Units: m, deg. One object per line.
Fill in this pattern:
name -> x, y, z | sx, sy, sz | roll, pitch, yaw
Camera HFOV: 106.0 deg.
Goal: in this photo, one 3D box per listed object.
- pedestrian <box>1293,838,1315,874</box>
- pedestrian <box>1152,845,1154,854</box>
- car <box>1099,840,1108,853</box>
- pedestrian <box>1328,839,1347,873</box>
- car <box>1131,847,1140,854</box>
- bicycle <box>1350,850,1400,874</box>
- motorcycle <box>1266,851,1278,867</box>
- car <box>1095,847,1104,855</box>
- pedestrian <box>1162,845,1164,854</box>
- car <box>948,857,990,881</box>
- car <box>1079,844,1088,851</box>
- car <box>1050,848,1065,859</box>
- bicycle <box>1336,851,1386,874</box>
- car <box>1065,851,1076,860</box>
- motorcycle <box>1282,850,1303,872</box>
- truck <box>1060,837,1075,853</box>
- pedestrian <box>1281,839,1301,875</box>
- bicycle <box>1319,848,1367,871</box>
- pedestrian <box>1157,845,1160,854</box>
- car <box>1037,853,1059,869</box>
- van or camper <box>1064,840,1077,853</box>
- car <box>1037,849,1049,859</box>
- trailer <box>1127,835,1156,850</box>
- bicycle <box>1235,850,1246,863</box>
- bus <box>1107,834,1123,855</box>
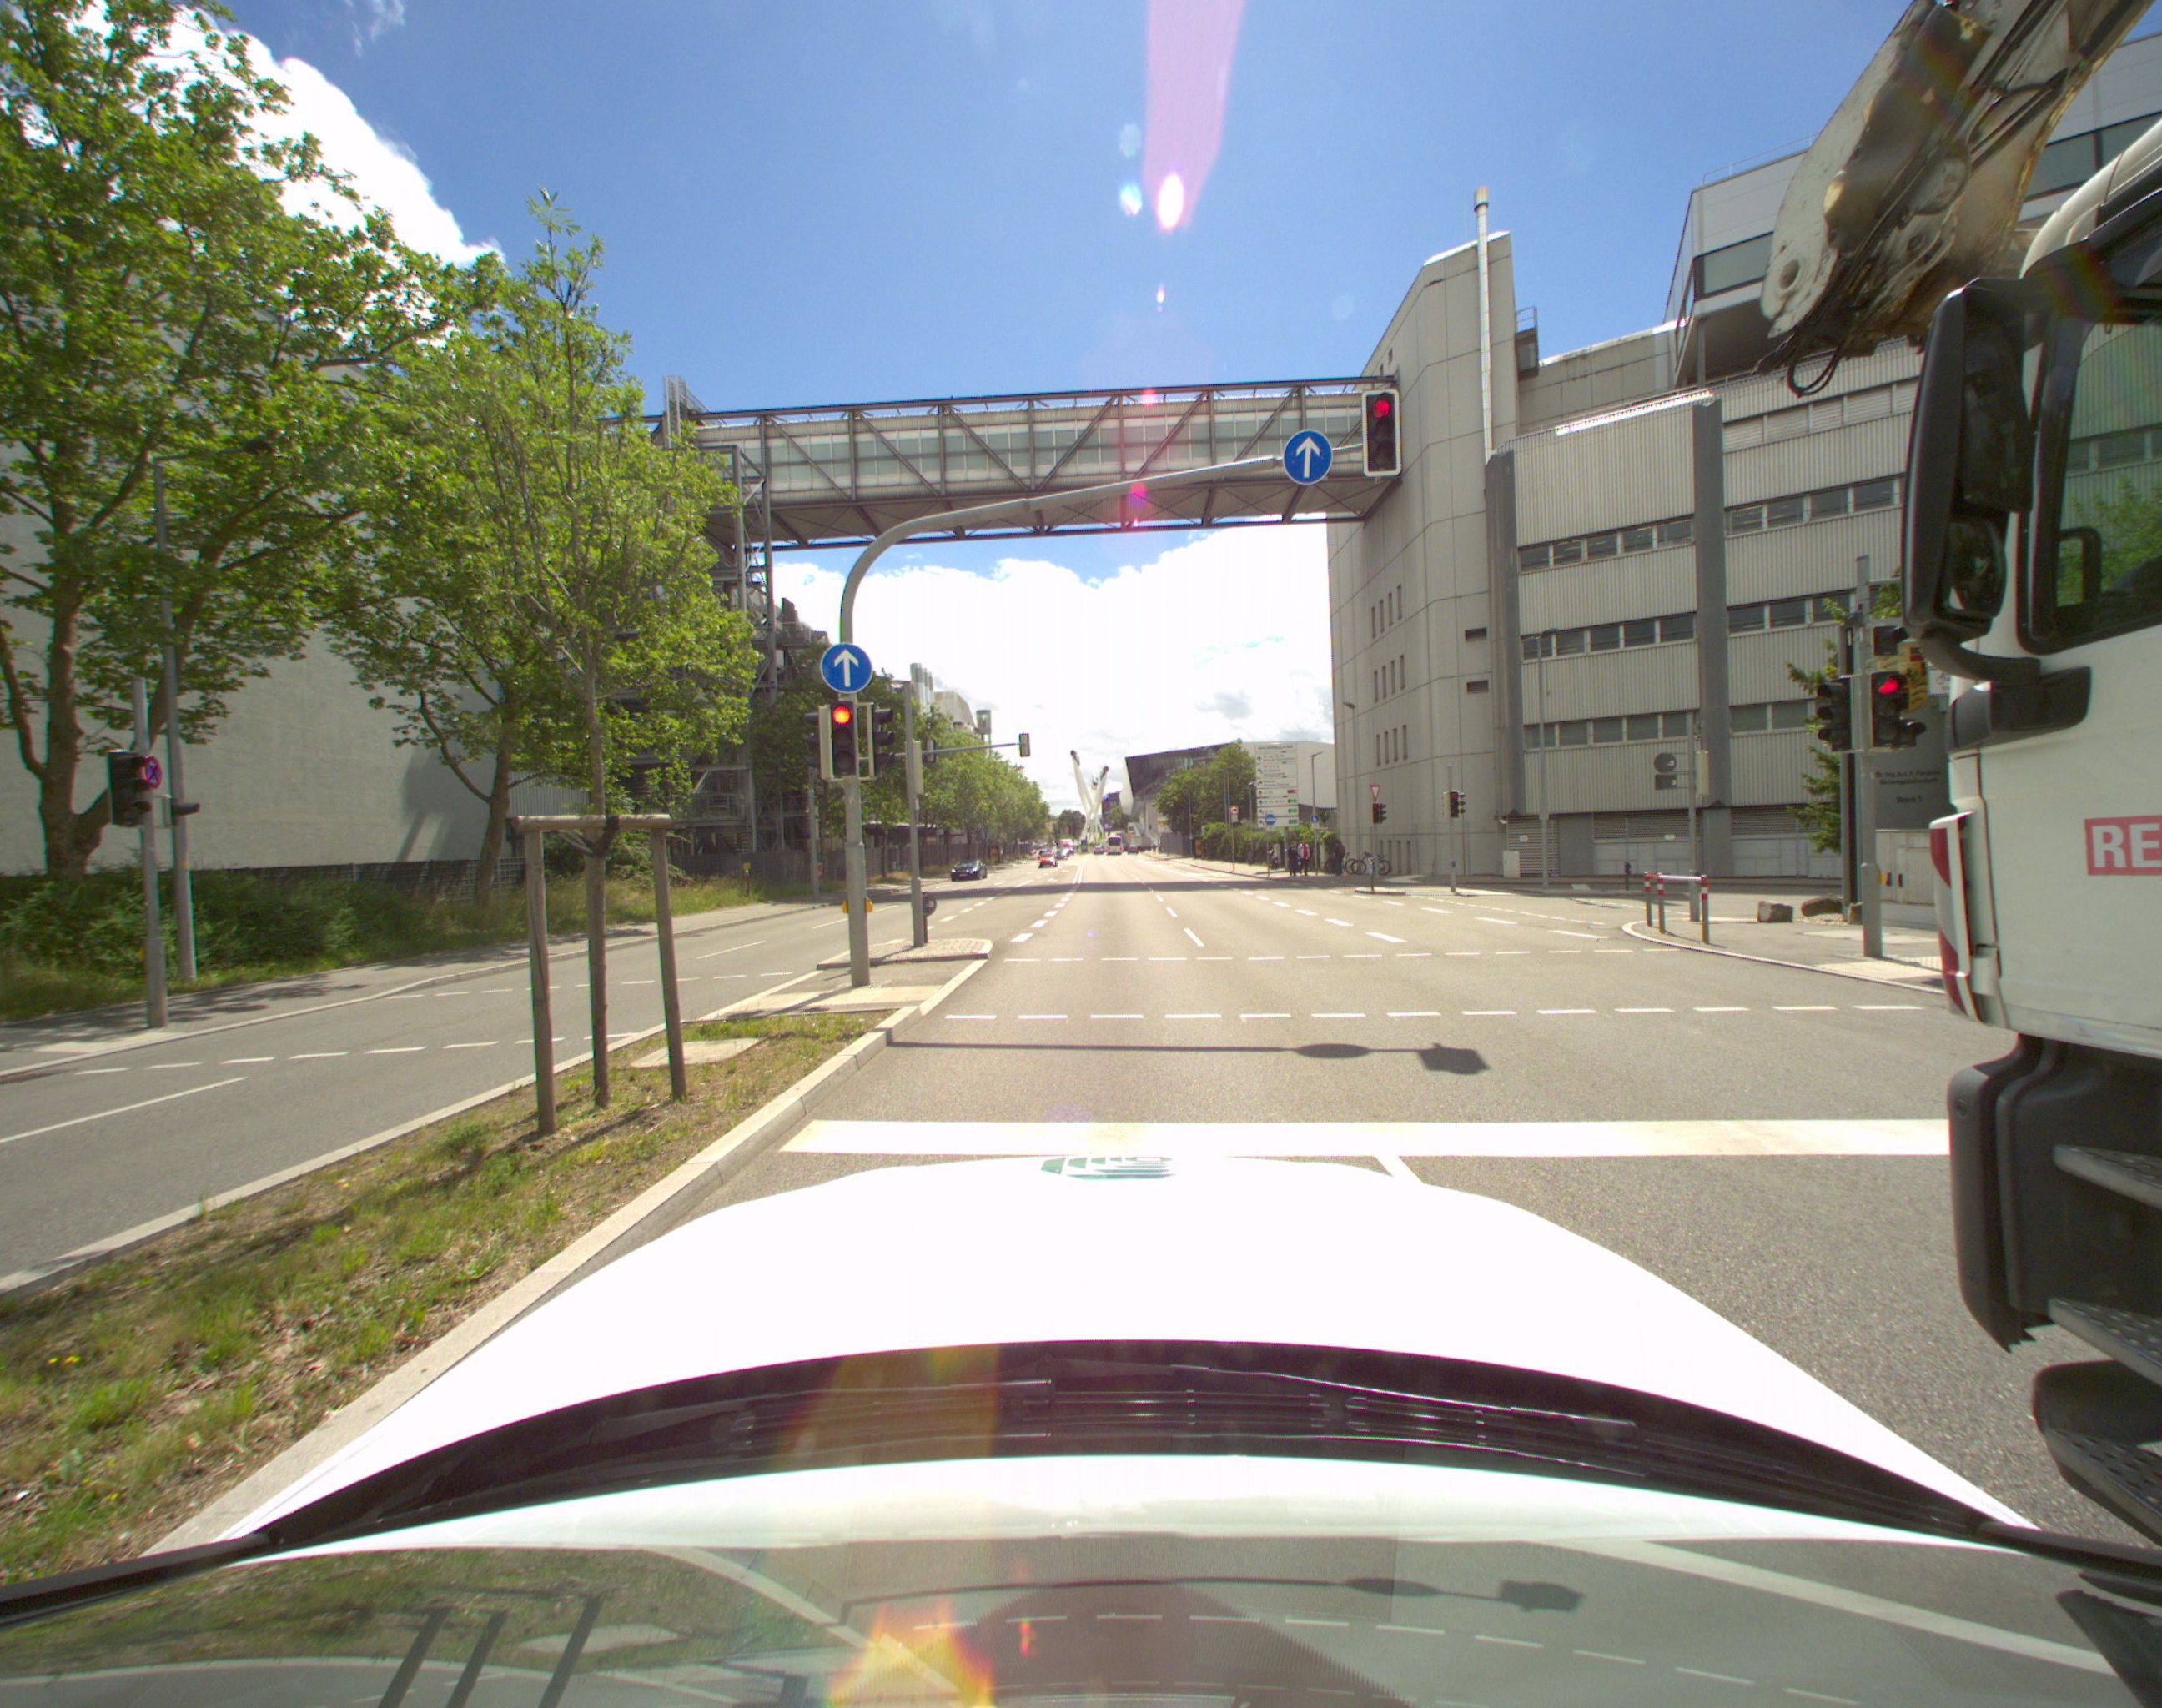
pedestrian -> 11.264, 0.099, 41.107 | 0.692, 1.793, 0.709 | -4, 0, -14
pedestrian -> 12.190, -0.729, 137.943 | 0.384, 1.421, 0.424 | 0, -1, 2
car -> 4.775, -1.636, 171.291 | 1.837, 2.624, 4.000 | 0, -1, 1
pedestrian -> 12.323, 0.103, 39.092 | 0.537, 1.640, 0.651 | 0, -1, -35
car -> 9.842, -0.652, 146.240 | 1.551, 1.273, 3.704 | -4, 0, 3
bicycle -> 13.870, 0.392, 38.450 | 2.166, 1.086, 0.480 | -1, -1, 37
motorcycle -> 12.172, 0.337, 51.872 | 0.455, 1.022, 1.914 | 0, -1, 4
car -> 3.377, -0.556, 148.812 | 1.551, 1.273, 3.704 | -4, 0, 3
pedestrian -> 13.879, -0.735, 138.154 | 0.384, 1.421, 0.424 | 0, -1, 2
car -> -7.719, 1.008, 56.632 | 1.910, 1.488, 4.775 | -4, 0, 3
car -> 0.499, -1.235, 155.963 | 1.551, 1.273, 3.704 | -4, 0, 3
car -> -3.384, -0.110, 115.978 | 1.762, 1.420, 3.704 | -4, 0, 3
bicycle -> 13.515, 0.402, 39.360 | 2.196, 1.086, 0.480 | -1, -1, 37
car -> -1.703, 0.208, 135.421 | 1.551, 1.448, 3.775 | -4, 0, 3
motorcycle -> 11.648, 0.397, 44.895 | 0.418, 1.166, 1.951 | 0, -1, -9
truck -> -2.785, -1.896, 170.951 | 2.581, 3.324, 7.083 | 0, -1, 3
pedestrian -> 10.571, 0.155, 41.010 | 0.642, 1.793, 0.709 | -4, 0, -14
bicycle -> 13.081, 0.279, 40.704 | 2.196, 1.086, 0.480 | -1, -1, 37
pedestrian -> 12.994, -0.736, 136.619 | 0.384, 1.421, 0.424 | 0, -1, 2
car -> -3.308, 0.698, 81.524 | 1.762, 1.420, 3.704 | -4, 0, 3
van or camper -> -1.887, -1.404, 152.934 | 2.038, 2.466, 5.598 | -1, 0, 3
car -> -6.225, 0.061, 134.798 | 1.792, 1.574, 4.000 | -1, 0, 0
trailer -> 12.838, -2.391, 172.068 | 3.291, 2.995, 10.429 | -1, -1, 21
bicycle -> 12.722, 0.174, 65.130 | 0.417, 1.022, 1.911 | 0, -1, -2
bus -> 6.106, -1.680, 146.721 | 2.776, 3.686, 6.947 | 0, -1, 3
